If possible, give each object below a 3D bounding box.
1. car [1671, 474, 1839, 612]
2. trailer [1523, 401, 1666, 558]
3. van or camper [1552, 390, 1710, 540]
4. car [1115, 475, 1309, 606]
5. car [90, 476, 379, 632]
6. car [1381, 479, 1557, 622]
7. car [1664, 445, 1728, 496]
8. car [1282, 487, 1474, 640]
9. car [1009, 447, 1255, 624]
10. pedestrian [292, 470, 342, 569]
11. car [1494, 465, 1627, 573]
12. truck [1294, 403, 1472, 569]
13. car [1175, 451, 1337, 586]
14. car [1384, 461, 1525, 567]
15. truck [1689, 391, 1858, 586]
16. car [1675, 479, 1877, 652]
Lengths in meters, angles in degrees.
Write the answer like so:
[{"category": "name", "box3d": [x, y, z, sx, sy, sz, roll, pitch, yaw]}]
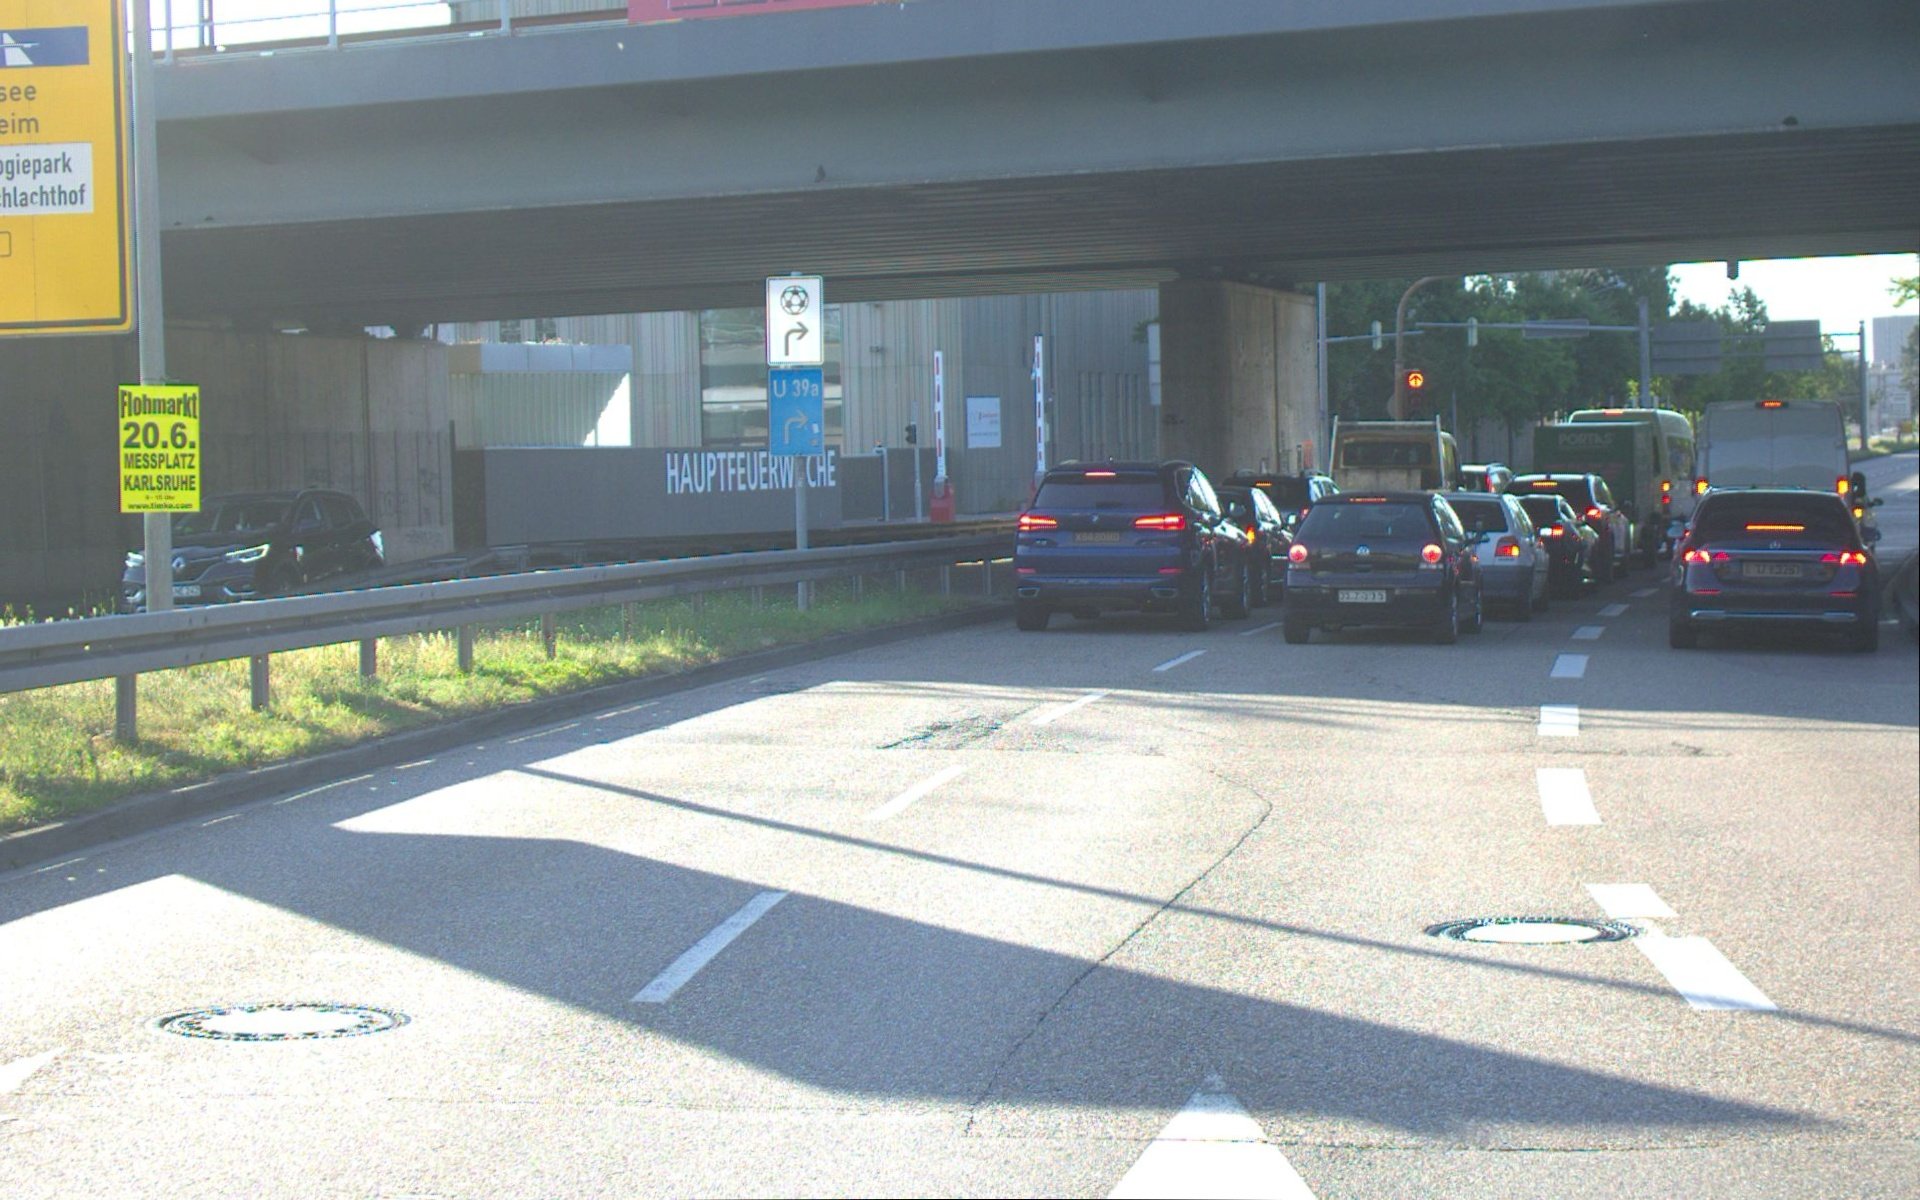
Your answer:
[{"category": "car", "box3d": [9.355, -0.676, 40.275, 1.773, 1.490, 3.829, -1, 1, 15]}, {"category": "trailer", "box3d": [10.574, -1.977, 57.112, 1.865, 2.456, 3.829, -1, 1, 17]}, {"category": "van or camper", "box3d": [12.200, -2.393, 62.213, 1.995, 2.561, 5.912, 0, 1, 19]}, {"category": "car", "box3d": [3.173, -0.750, 42.657, 1.842, 1.435, 3.673, -3, 1, 12]}, {"category": "car", "box3d": [-8.309, -0.546, 39.789, 1.846, 1.598, 4.393, -3, 1, 7]}, {"category": "car", "box3d": [5.722, -0.582, 38.390, 1.548, 1.418, 3.415, -3, 1, 14]}, {"category": "car", "box3d": [24.529, -4.289, 114.489, 1.801, 1.599, 3.737, 0, 1, 16]}, {"category": "car", "box3d": [4.118, -0.377, 33.475, 1.582, 1.404, 3.830, 0, 1, 11]}, {"category": "car", "box3d": [1.883, -0.684, 36.200, 1.830, 1.732, 4.459, 0, 1, 13]}, {"category": "pedestrian", "box3d": [-12.366, -1.547, 66.095, 0.694, 1.897, 0.664, 0, 1, 17]}, {"category": "car", "box3d": [8.900, -1.191, 50.750, 1.583, 1.527, 3.829, 0, 1, 15]}, {"category": "truck", "box3d": [6.923, -1.816, 55.762, 2.029, 2.548, 5.533, 0, 1, 16]}, {"category": "car", "box3d": [4.232, -1.147, 48.654, 1.842, 1.713, 3.999, -3, 1, 10]}, {"category": "car", "box3d": [9.249, -1.597, 64.042, 1.995, 1.894, 3.997, 0, 1, 17]}, {"category": "truck", "box3d": [11.295, -1.535, 47.707, 2.113, 2.511, 4.398, -2, 1, 14]}, {"category": "car", "box3d": [7.745, -0.385, 32.800, 1.741, 1.449, 4.604, 0, 3, 13]}]
